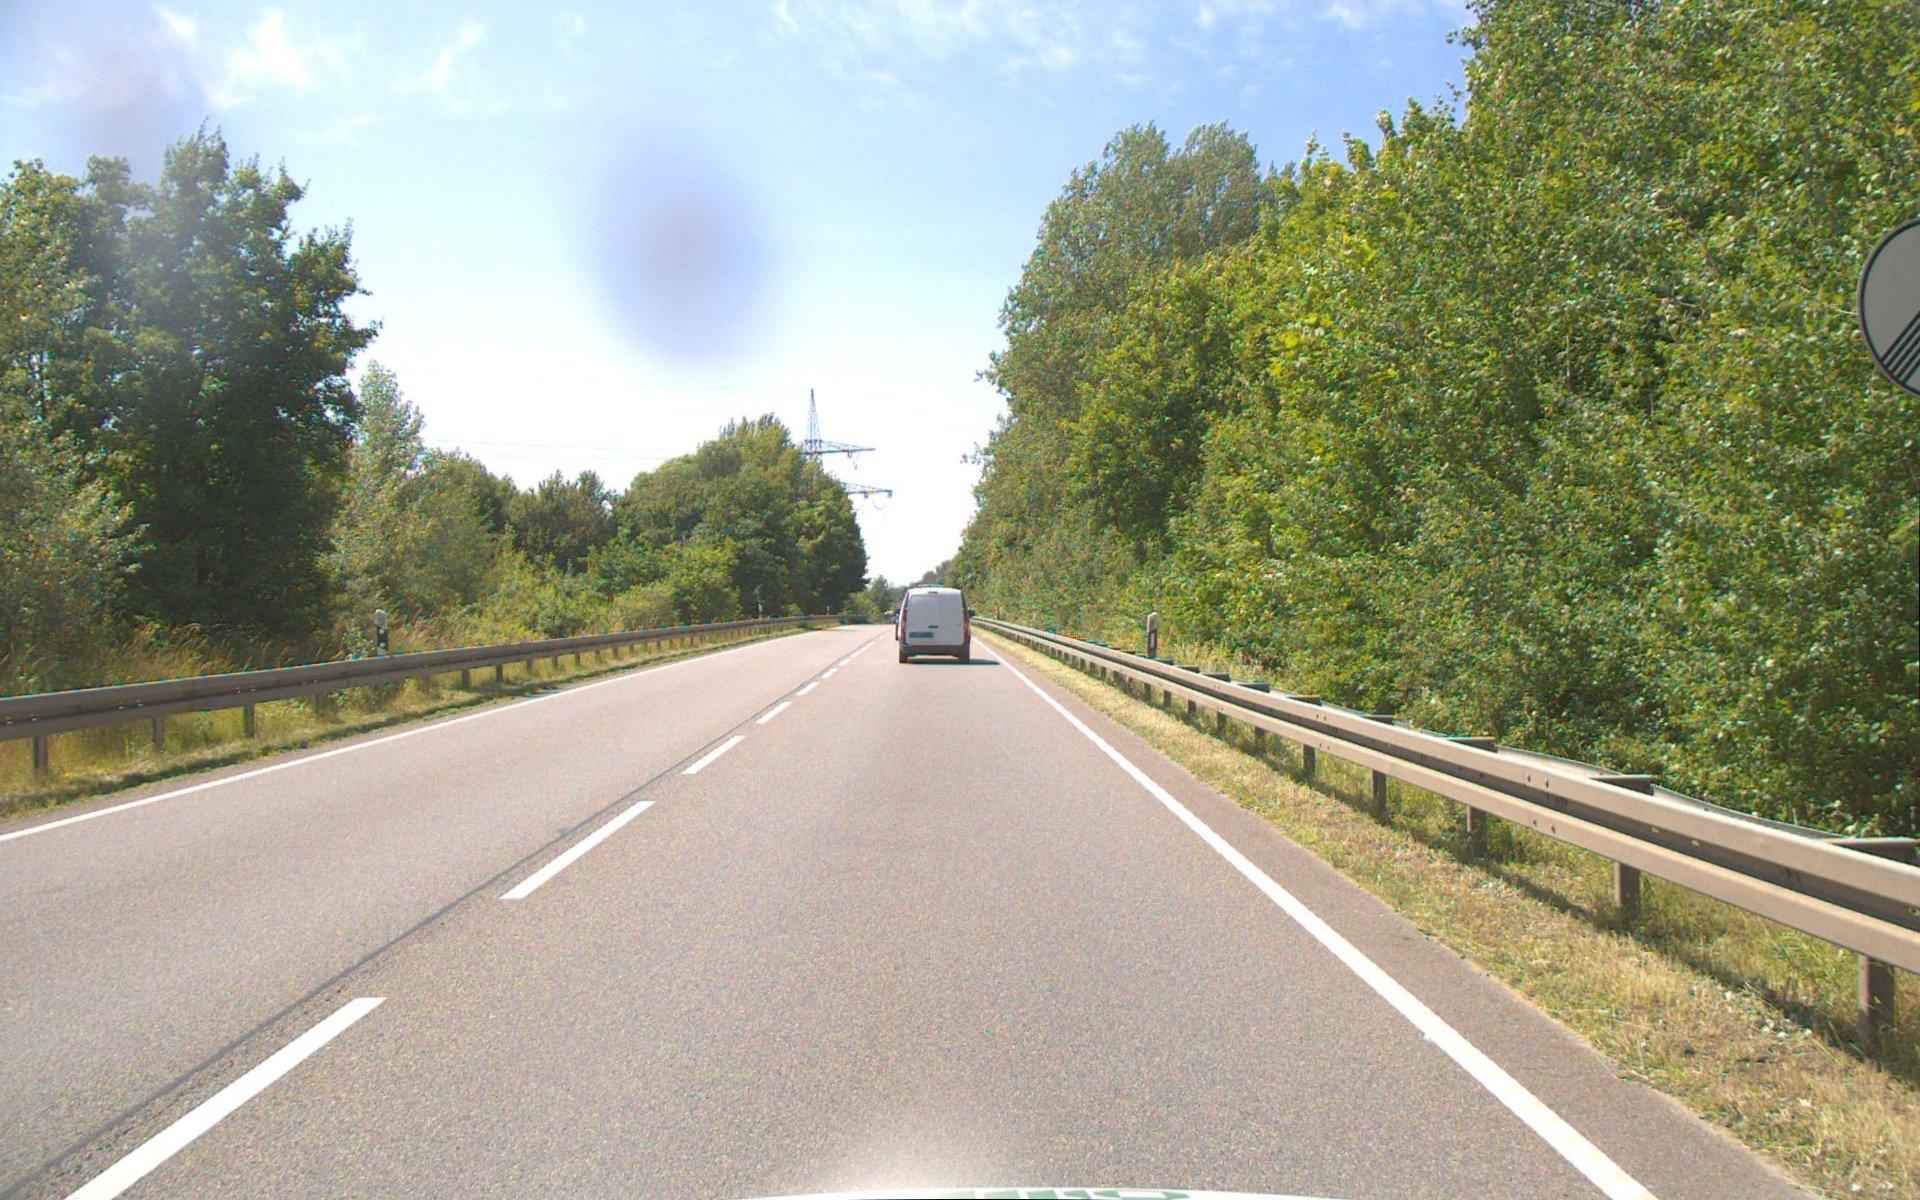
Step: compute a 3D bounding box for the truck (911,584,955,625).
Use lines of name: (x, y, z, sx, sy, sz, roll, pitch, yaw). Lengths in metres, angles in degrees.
truck: (-2.170, 0.361, 138.660, 3.229, 3.227, 14.405, 0, 0, 1)

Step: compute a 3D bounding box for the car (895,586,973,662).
car: (-0.656, 0.565, 40.991, 1.837, 1.772, 3.999, 0, 0, -2)
